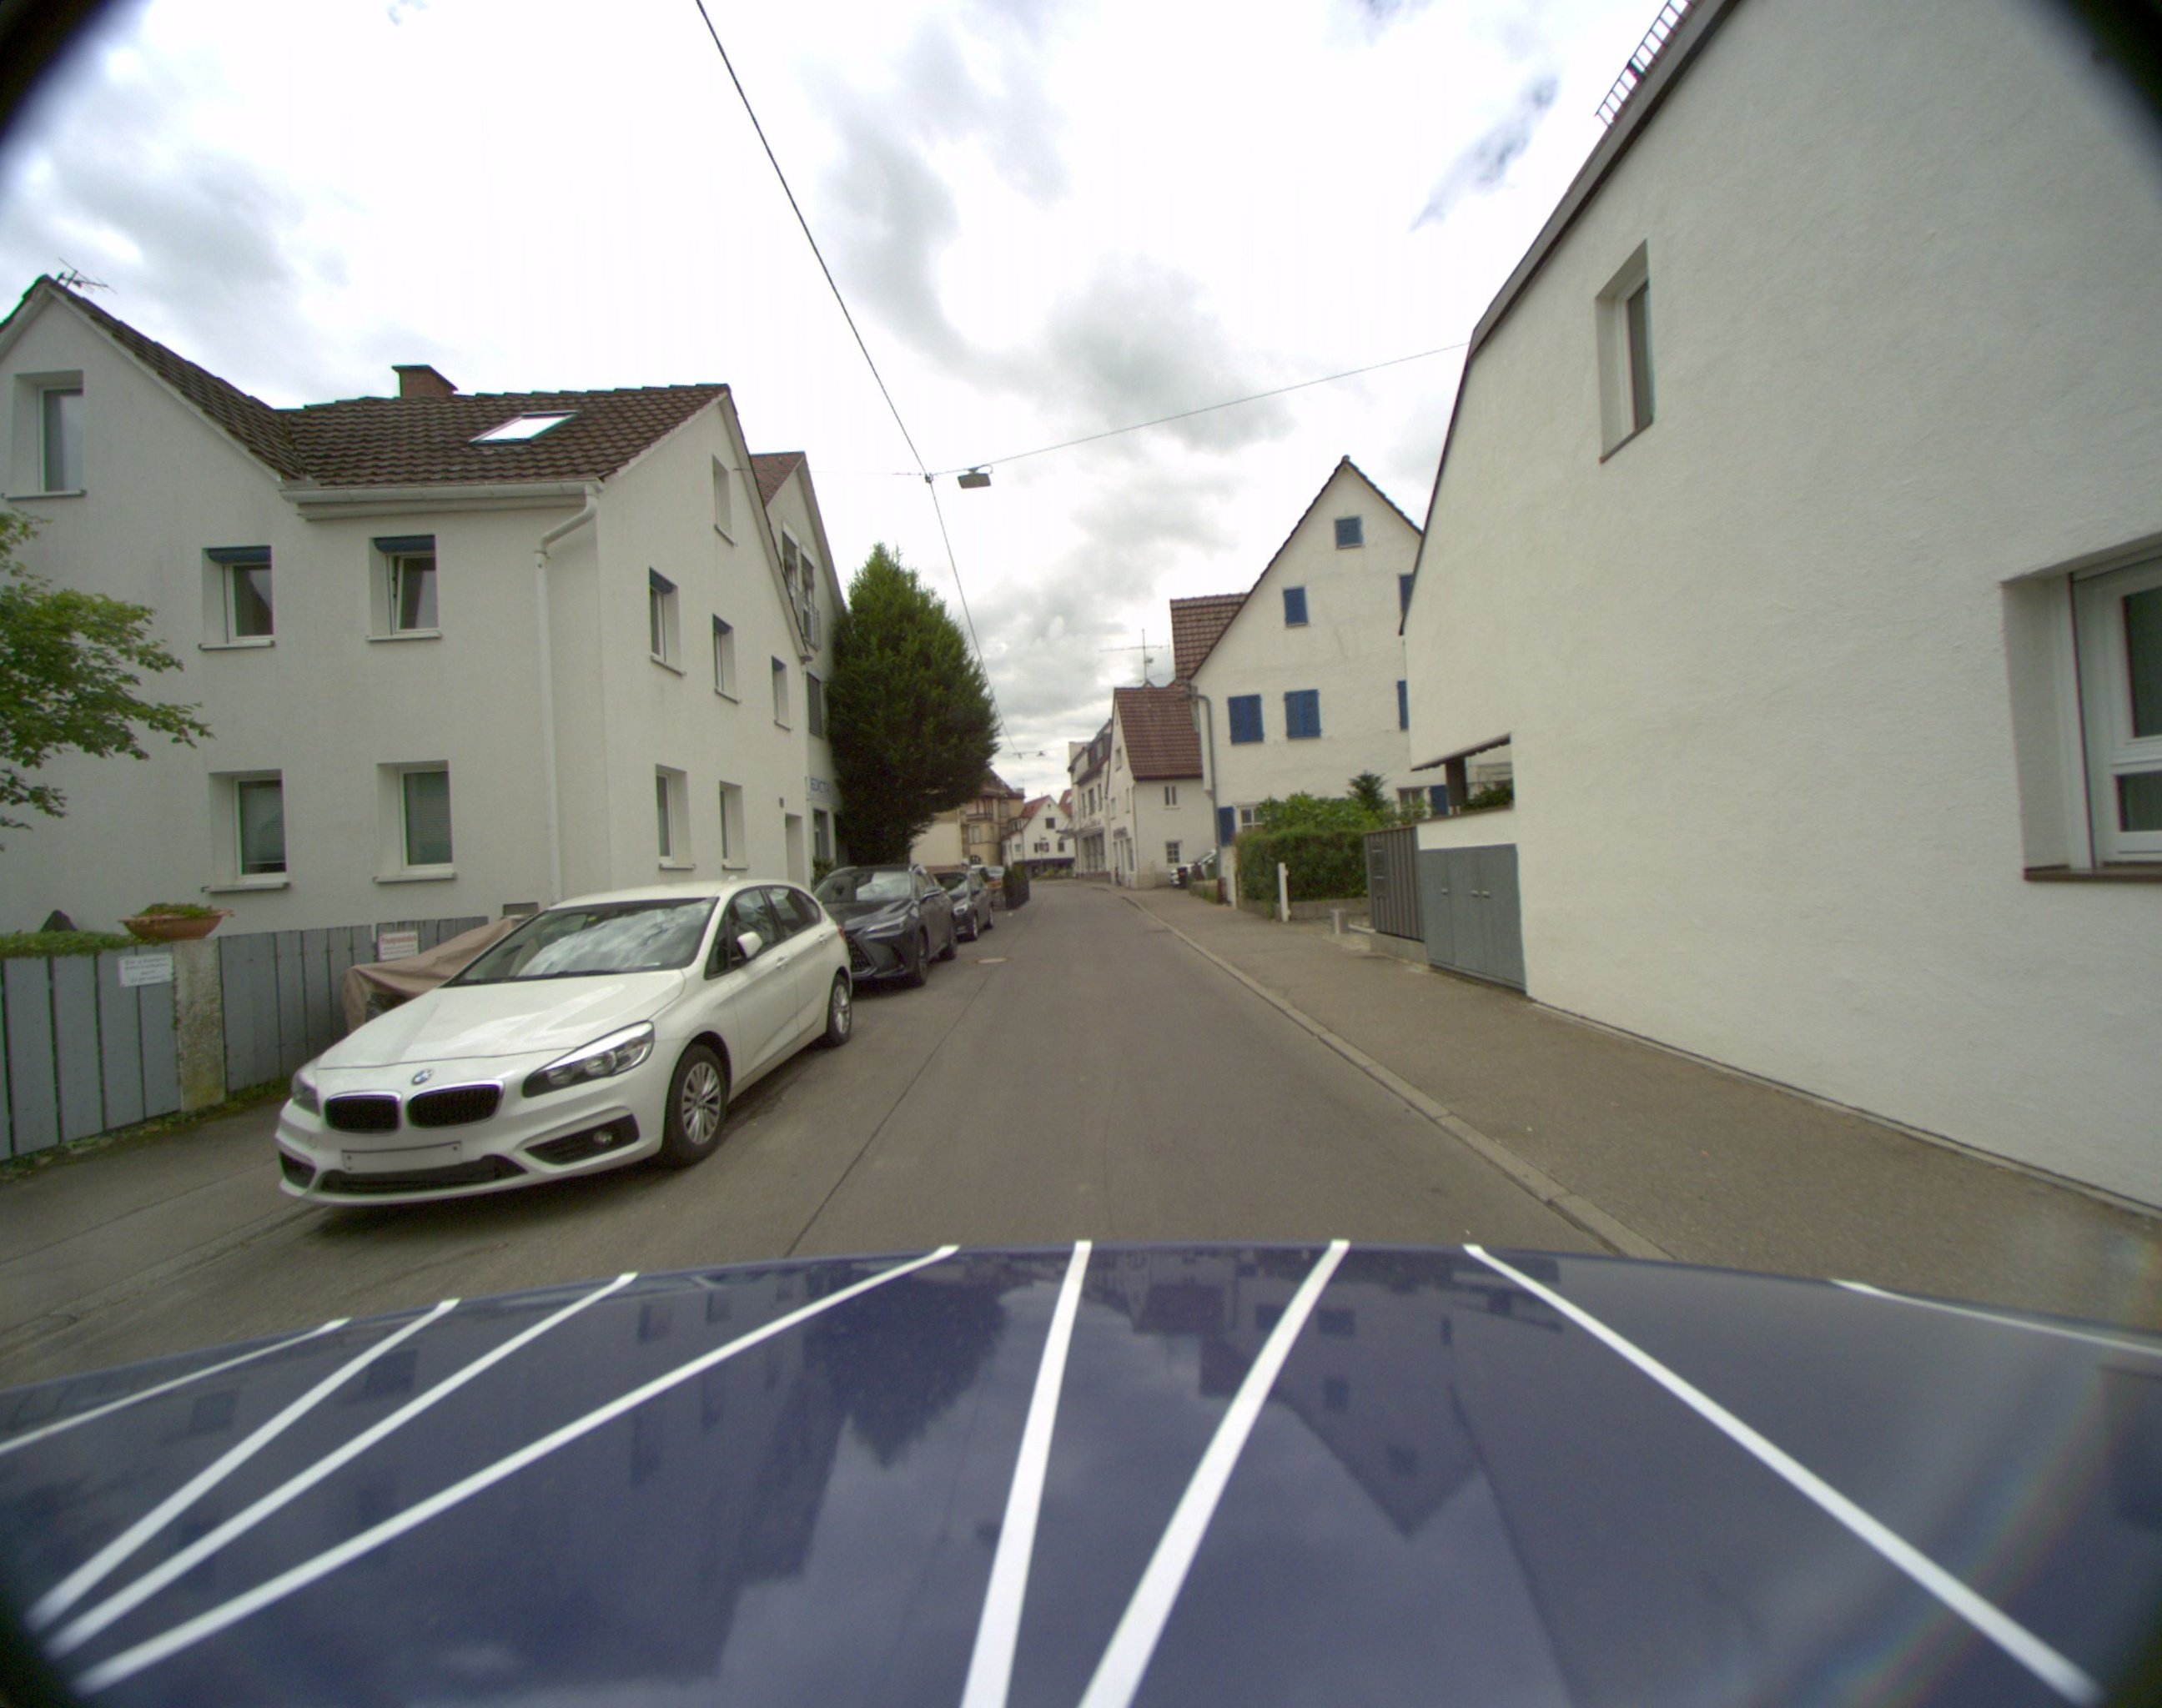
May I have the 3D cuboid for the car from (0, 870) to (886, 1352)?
[{"bbox_3d":[-3.087,1.040,5.339,1.998,1.606,4.879,-4,0,1],"label":"car"}]

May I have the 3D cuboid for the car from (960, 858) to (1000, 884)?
[{"bbox_3d":[-7.689,1.288,57.679,1.833,1.781,4.211,-4,-1,-23],"label":"car"}]

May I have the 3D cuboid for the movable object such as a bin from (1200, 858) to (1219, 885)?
[{"bbox_3d":[5.091,0.685,30.129,0.556,0.994,0.623,-9,-1,9],"label":"movable object such as a bin"}]

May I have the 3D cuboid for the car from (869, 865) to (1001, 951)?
[{"bbox_3d":[-3.099,1.081,17.206,1.953,1.499,4.820,-4,0,0],"label":"car"}]

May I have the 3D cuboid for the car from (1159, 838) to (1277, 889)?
[{"bbox_3d":[5.935,0.383,33.267,4.550,1.492,1.976,-8,3,-6],"label":"car"}]

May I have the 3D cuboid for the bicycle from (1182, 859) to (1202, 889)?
[{"bbox_3d":[4.236,0.748,28.878,0.443,1.032,2.094,-8,-2,13],"label":"bicycle"}]

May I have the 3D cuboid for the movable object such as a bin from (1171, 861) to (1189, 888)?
[{"bbox_3d":[3.914,0.827,30.117,0.554,0.994,0.587,-8,-2,10],"label":"movable object such as a bin"}]

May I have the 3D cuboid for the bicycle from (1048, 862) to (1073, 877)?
[{"bbox_3d":[-1.846,1.367,68.229,1.983,1.232,0.743,-3,-1,-28],"label":"bicycle"}]

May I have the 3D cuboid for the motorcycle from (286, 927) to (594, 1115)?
[{"bbox_3d":[-5.544,1.373,6.832,0.820,1.166,2.170,-2,1,2],"label":"motorcycle"}]

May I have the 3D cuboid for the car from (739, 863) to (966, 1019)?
[{"bbox_3d":[-3.004,1.034,11.225,1.868,1.624,4.900,-3,0,-1],"label":"car"}]

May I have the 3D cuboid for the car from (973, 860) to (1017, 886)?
[{"bbox_3d":[-6.059,1.319,53.041,1.795,1.591,4.534,-4,0,-22],"label":"car"}]

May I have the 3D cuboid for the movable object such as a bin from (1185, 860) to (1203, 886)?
[{"bbox_3d":[4.512,0.759,30.271,0.570,0.994,0.600,-8,-2,8],"label":"movable object such as a bin"}]
